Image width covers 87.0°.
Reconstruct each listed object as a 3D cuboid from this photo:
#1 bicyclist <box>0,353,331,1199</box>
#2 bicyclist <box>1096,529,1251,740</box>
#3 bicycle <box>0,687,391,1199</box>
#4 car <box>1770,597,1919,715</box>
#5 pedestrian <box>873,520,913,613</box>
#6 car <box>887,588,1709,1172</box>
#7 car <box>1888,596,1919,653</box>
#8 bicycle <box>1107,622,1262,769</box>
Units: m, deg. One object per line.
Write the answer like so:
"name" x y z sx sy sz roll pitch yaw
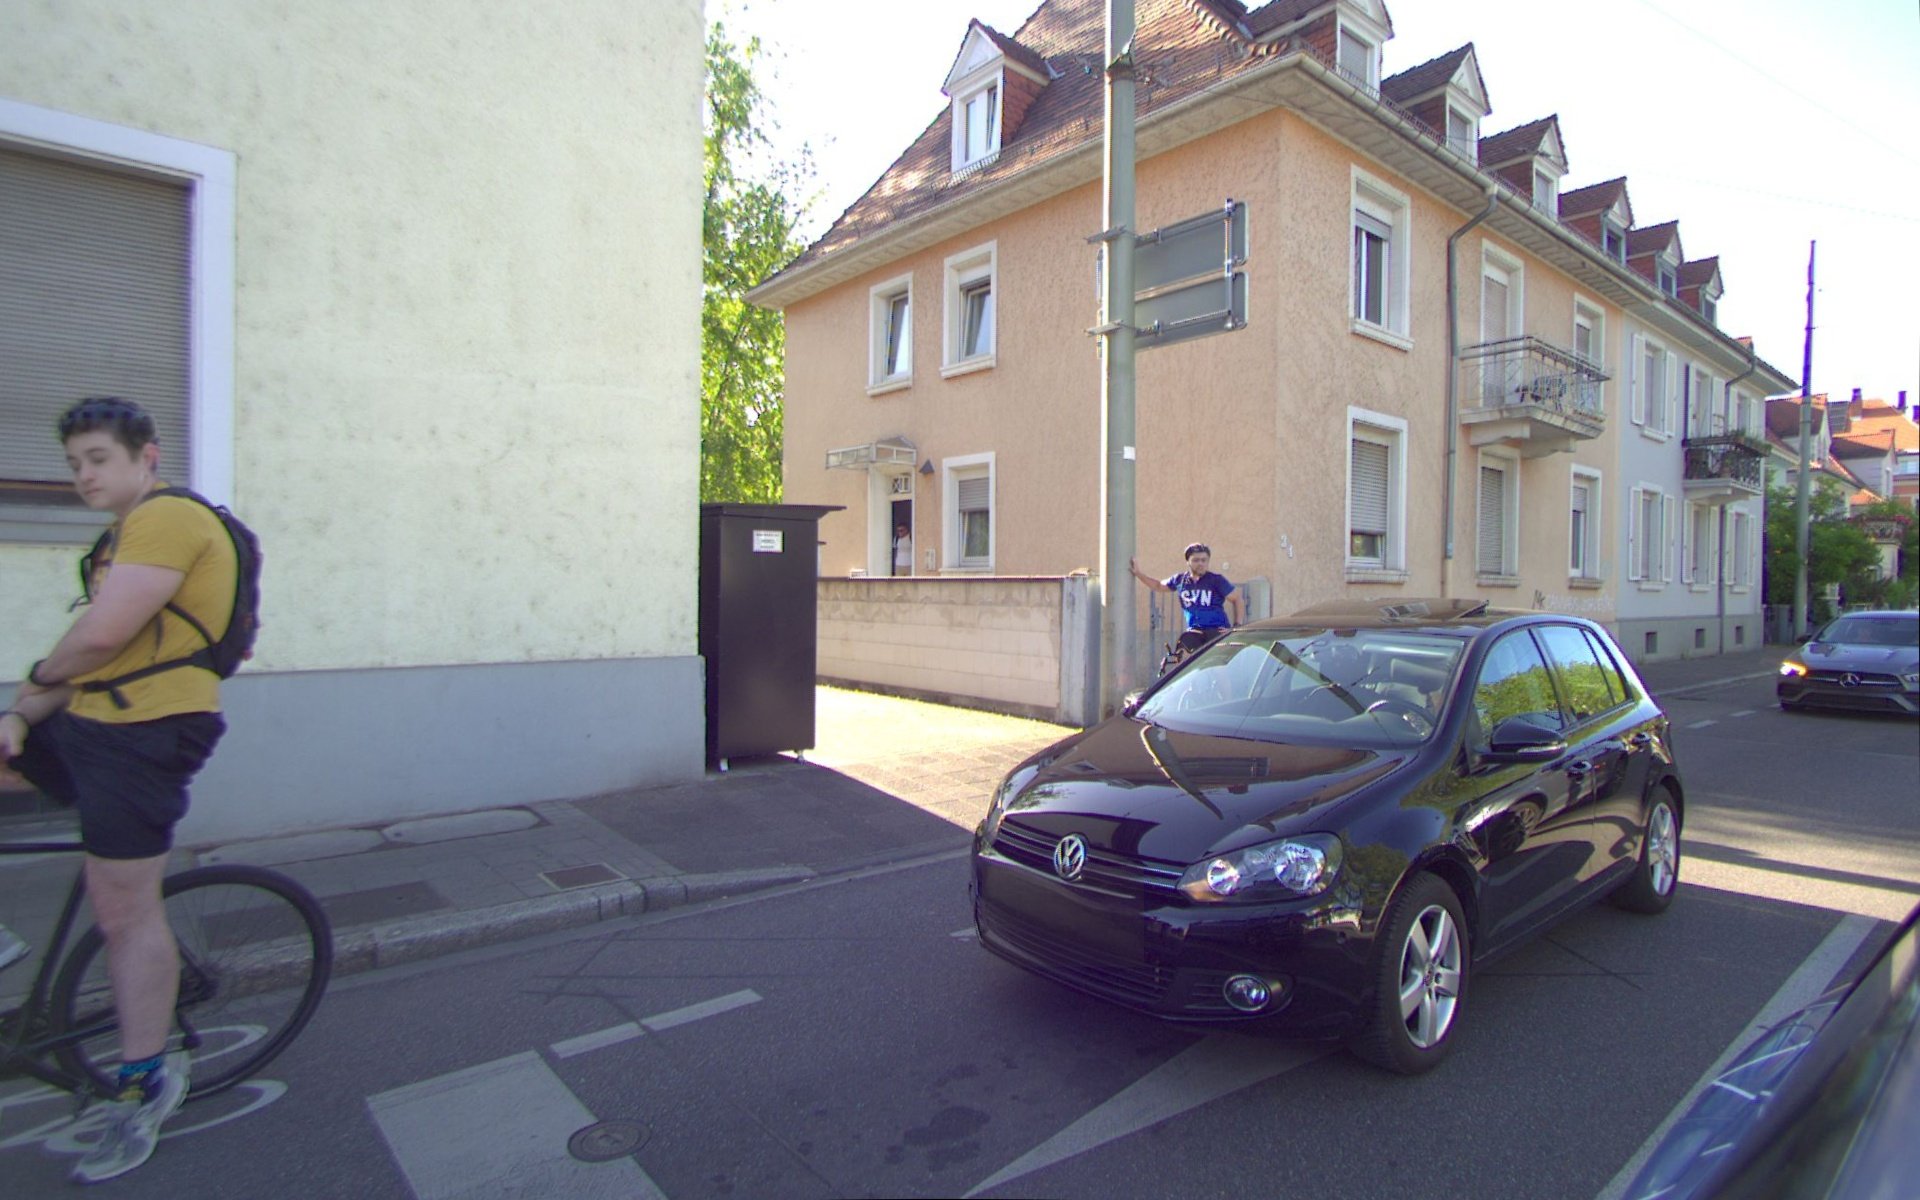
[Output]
"bicyclist" -2.308 0.435 2.758 0.777 1.991 0.768 0 0 36
"bicyclist" 1.881 0.263 8.967 1.018 1.714 0.718 6 4 42
"bicycle" -2.538 0.867 2.597 0.777 1.120 1.720 0 0 36
"car" 13.362 0.718 14.184 4.401 1.449 1.828 1 0 -32
"pedestrian" -1.240 -0.633 18.668 0.598 1.624 0.763 3 5 -8
"car" 1.755 0.685 4.489 3.921 1.456 1.716 -1 0 -41
"car" 26.751 0.624 27.430 4.258 1.448 1.824 -1 0 -40
"bicycle" 1.998 0.778 8.862 0.554 1.088 1.601 6 4 42
